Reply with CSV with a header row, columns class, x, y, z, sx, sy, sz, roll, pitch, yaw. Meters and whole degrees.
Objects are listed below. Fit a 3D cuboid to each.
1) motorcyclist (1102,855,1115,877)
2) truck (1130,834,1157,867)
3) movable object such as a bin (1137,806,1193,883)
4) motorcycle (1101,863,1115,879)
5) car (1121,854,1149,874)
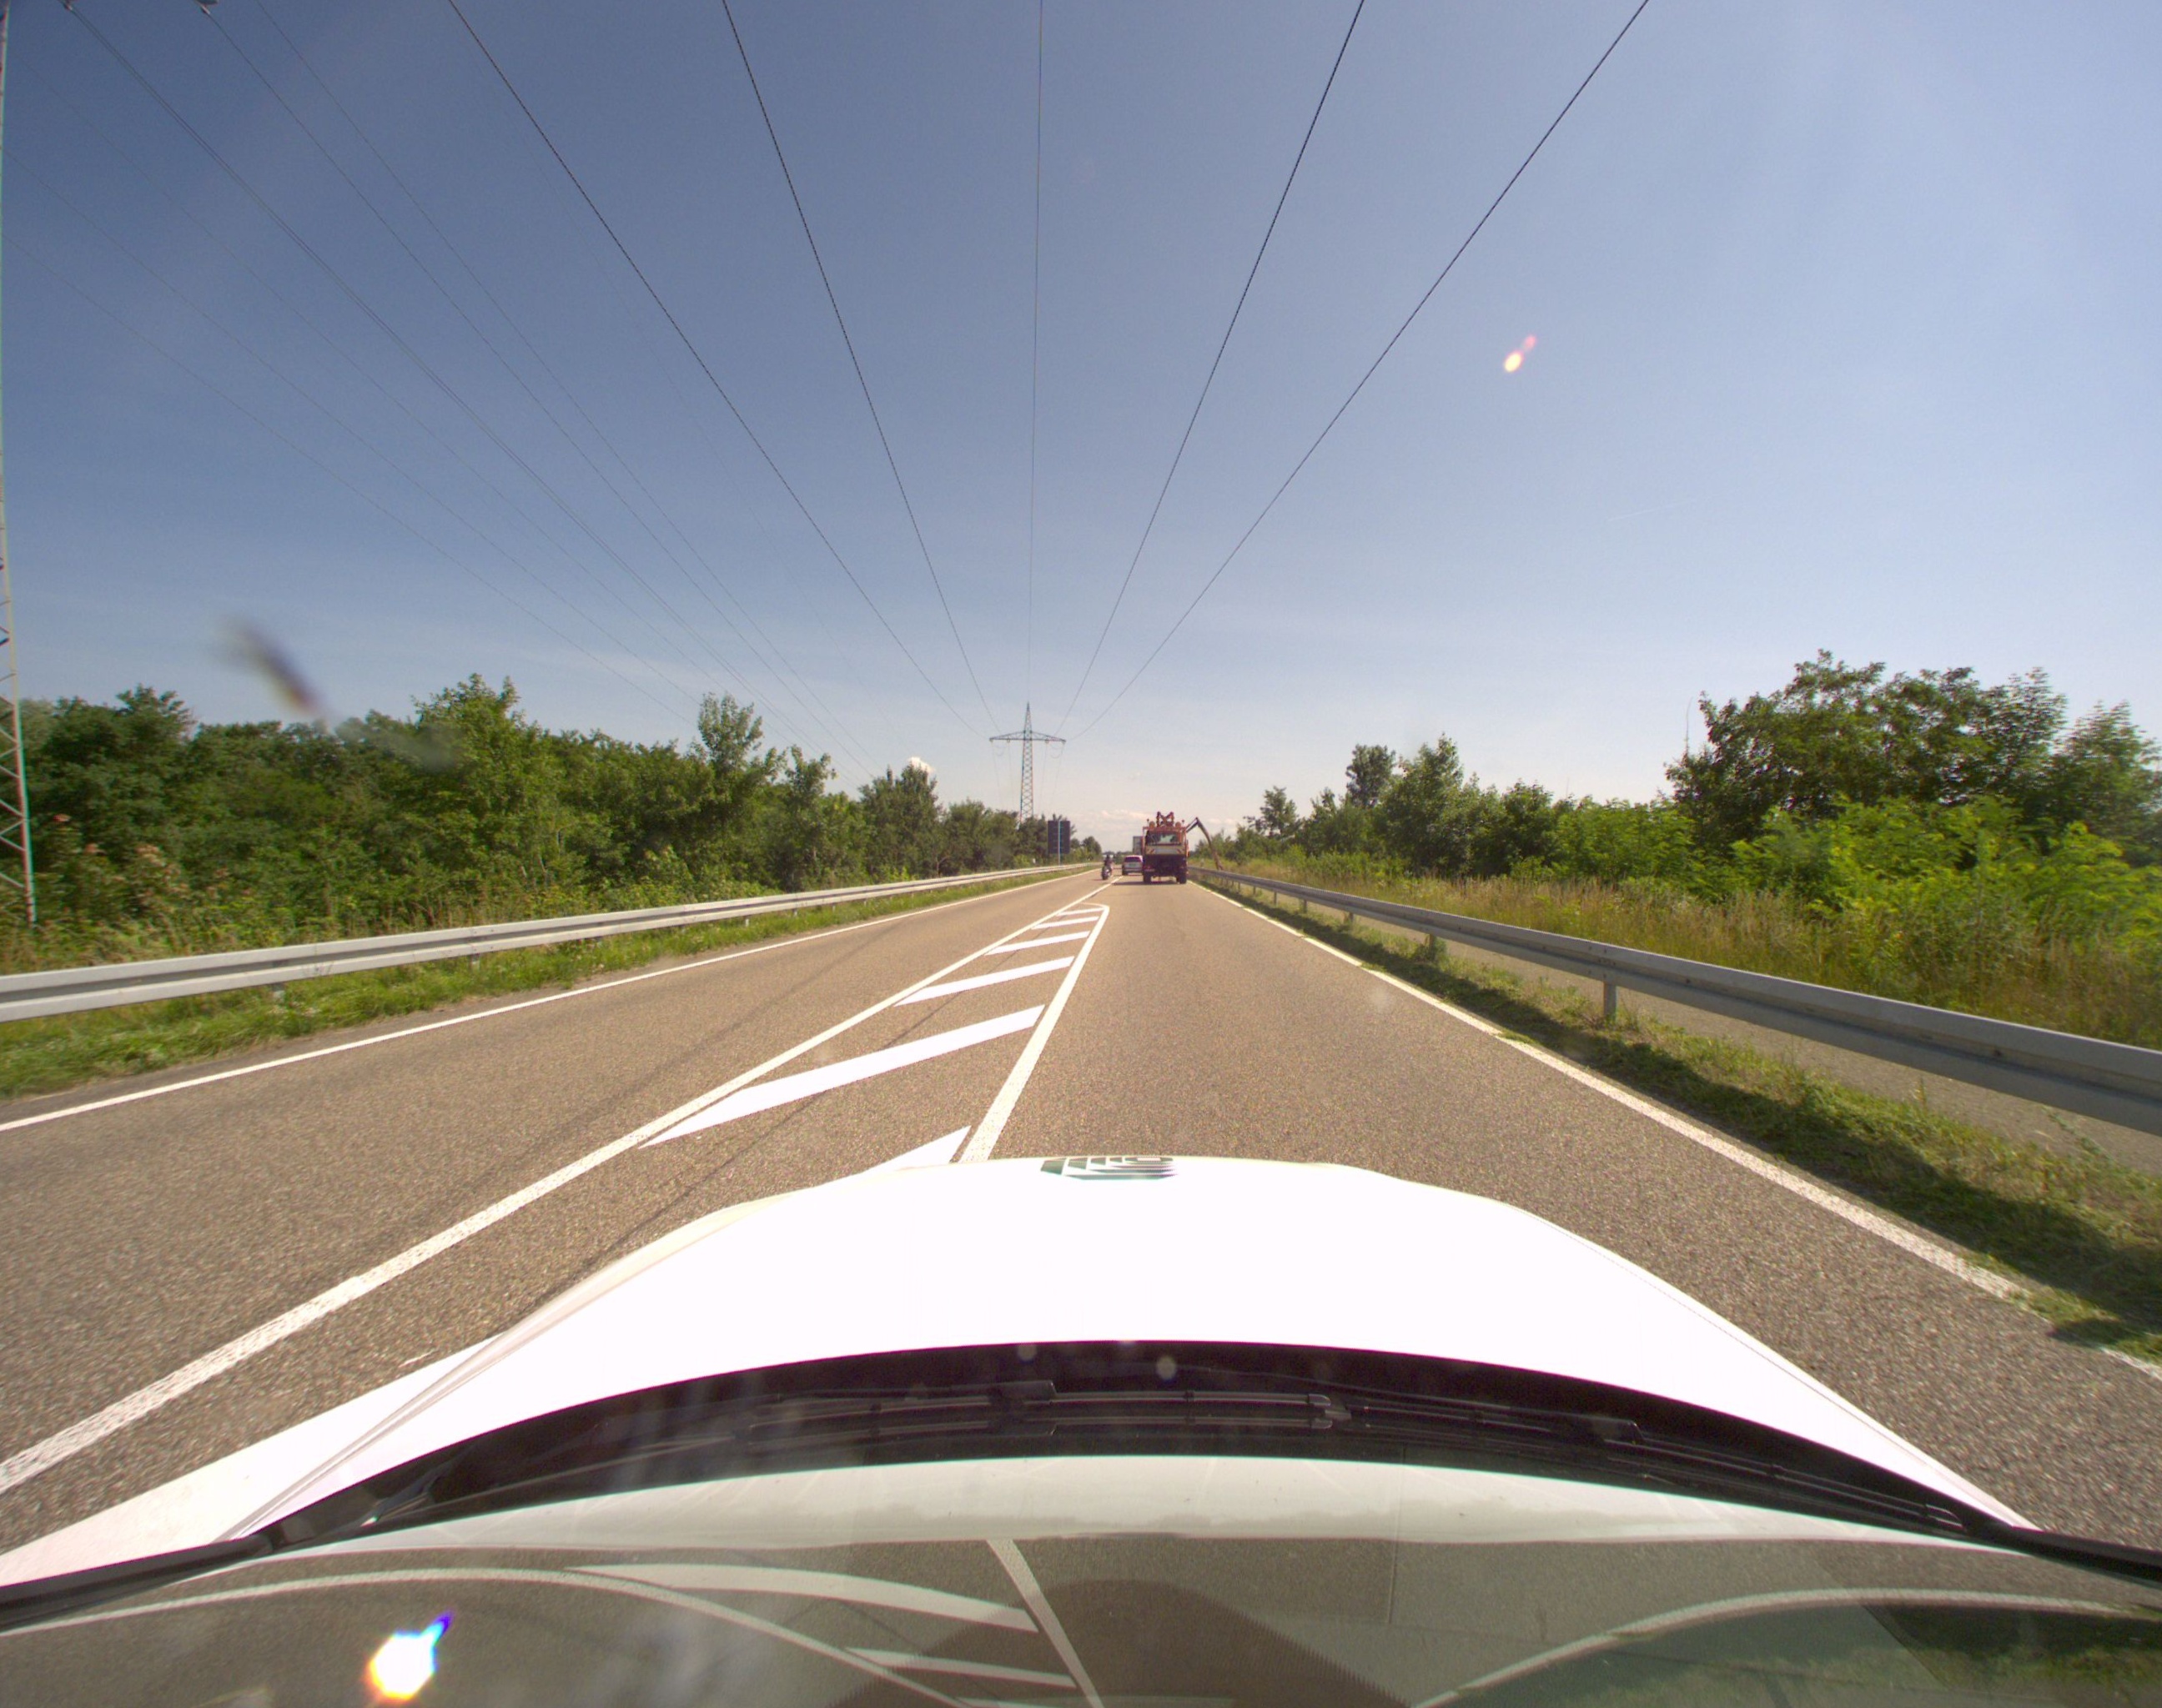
class,x,y,z,sx,sy,sz,roll,pitch,yaw
motorcyclist,1.701,0.744,50.477,0.777,1.325,0.814,0,0,4
truck,8.079,-0.363,104.838,3.226,3.979,9.455,0,-1,5
movable object such as a bin,4.623,-0.477,45.467,2.740,3.839,9.458,0,0,5
motorcycle,1.691,1.036,50.457,0.776,0.975,2.364,0,0,5
car,4.272,0.770,63.969,1.814,1.451,4.011,0,0,10
